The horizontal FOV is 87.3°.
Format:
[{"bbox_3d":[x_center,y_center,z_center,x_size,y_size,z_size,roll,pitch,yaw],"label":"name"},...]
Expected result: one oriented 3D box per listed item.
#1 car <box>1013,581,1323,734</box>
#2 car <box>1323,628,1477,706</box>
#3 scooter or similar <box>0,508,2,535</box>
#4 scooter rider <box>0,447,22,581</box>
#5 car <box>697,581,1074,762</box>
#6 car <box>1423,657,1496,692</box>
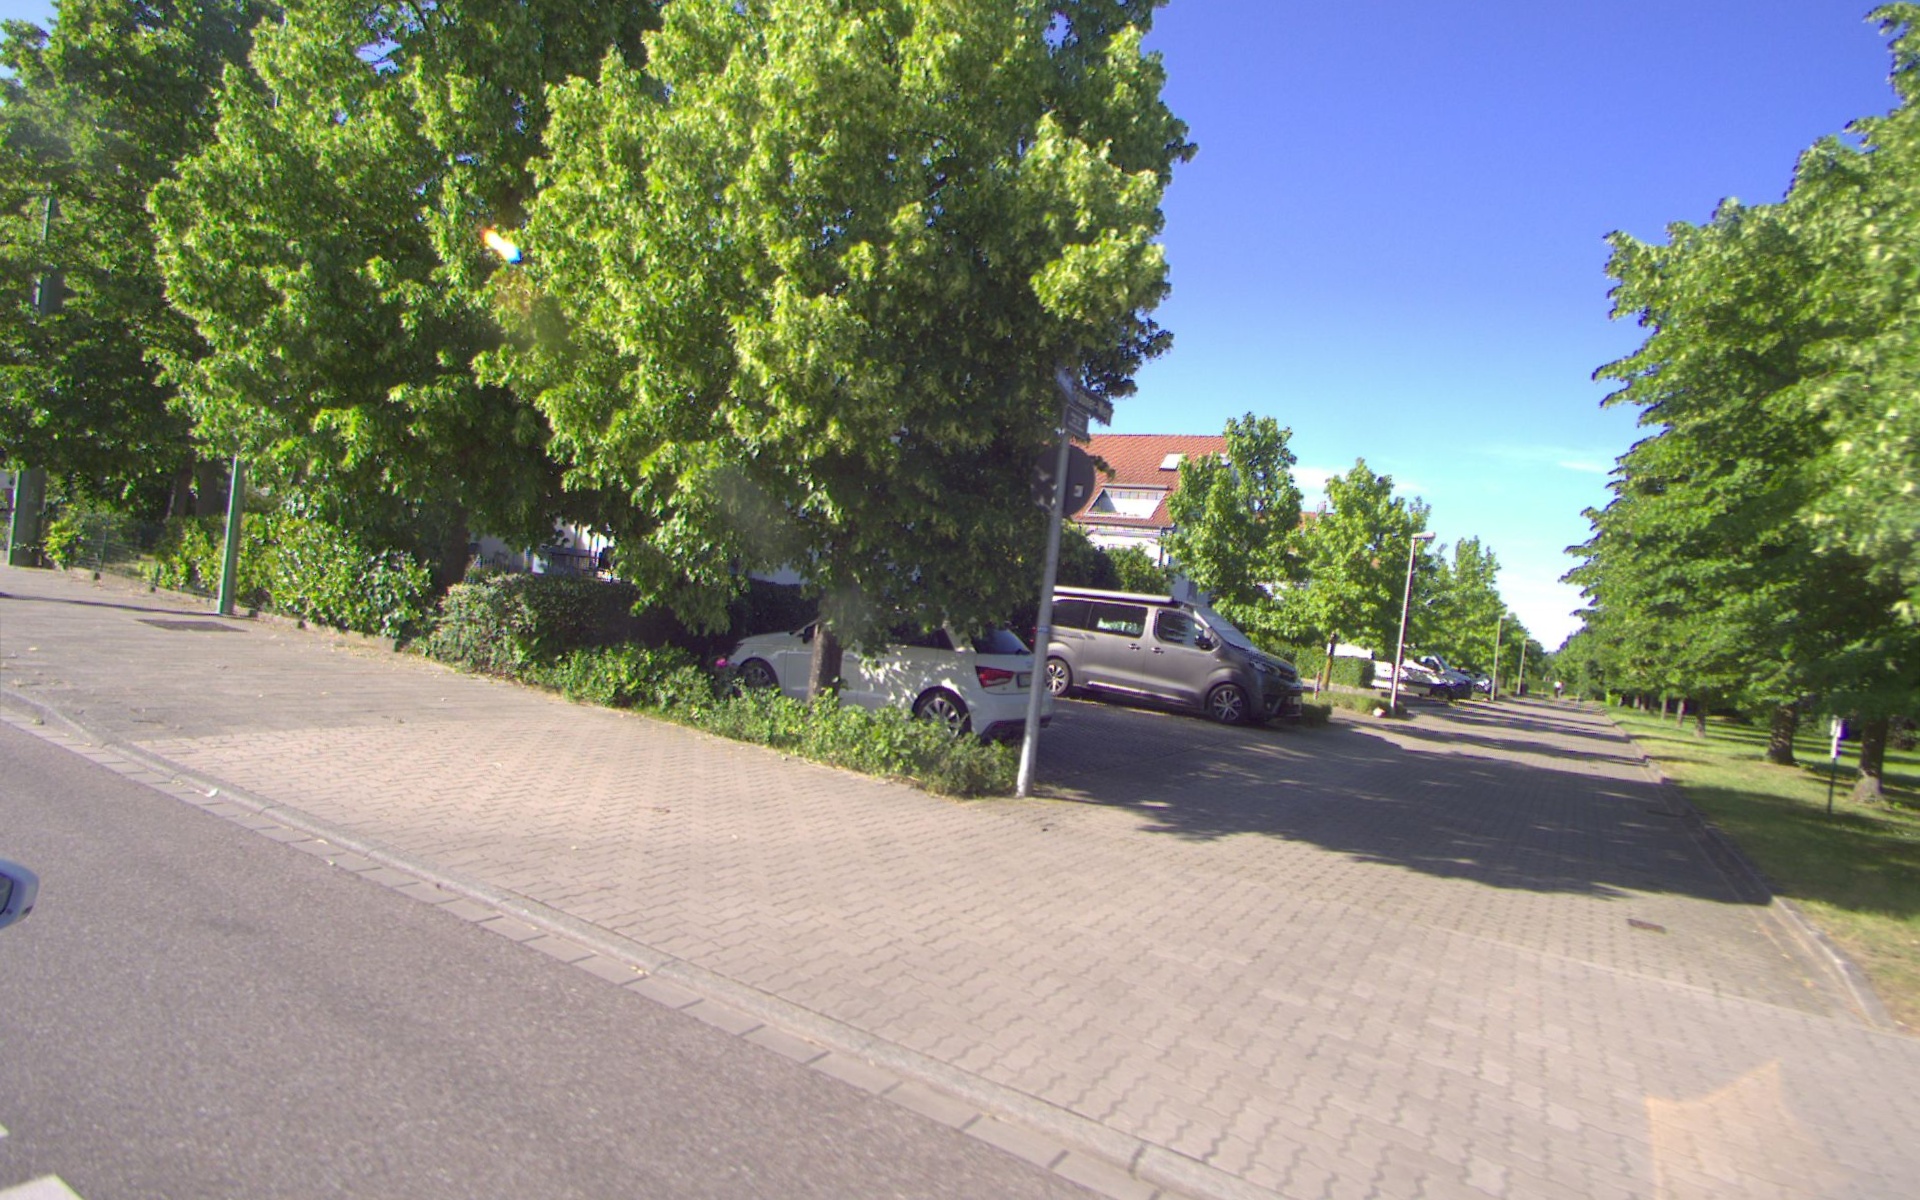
[{"bbox_3d":[3.597,0.941,17.875,4.880,1.962,1.874,7,1,34],"label":"car"},{"bbox_3d":[18.781,2.855,43.045,5.589,2.562,2.195,6,-2,32],"label":"car"},{"bbox_3d":[-13.397,-0.714,13.563,1.188,1.151,0.349,7,1,32],"label":"scooter or similar"},{"bbox_3d":[-13.306,-1.207,13.653,0.589,1.788,0.551,7,0,31],"label":"scooter rider"},{"bbox_3d":[-0.910,0.713,11.294,3.985,1.379,1.464,7,1,30],"label":"car"},{"bbox_3d":[31.463,4.674,63.378,3.820,1.673,1.817,6,-2,32],"label":"car"}]
